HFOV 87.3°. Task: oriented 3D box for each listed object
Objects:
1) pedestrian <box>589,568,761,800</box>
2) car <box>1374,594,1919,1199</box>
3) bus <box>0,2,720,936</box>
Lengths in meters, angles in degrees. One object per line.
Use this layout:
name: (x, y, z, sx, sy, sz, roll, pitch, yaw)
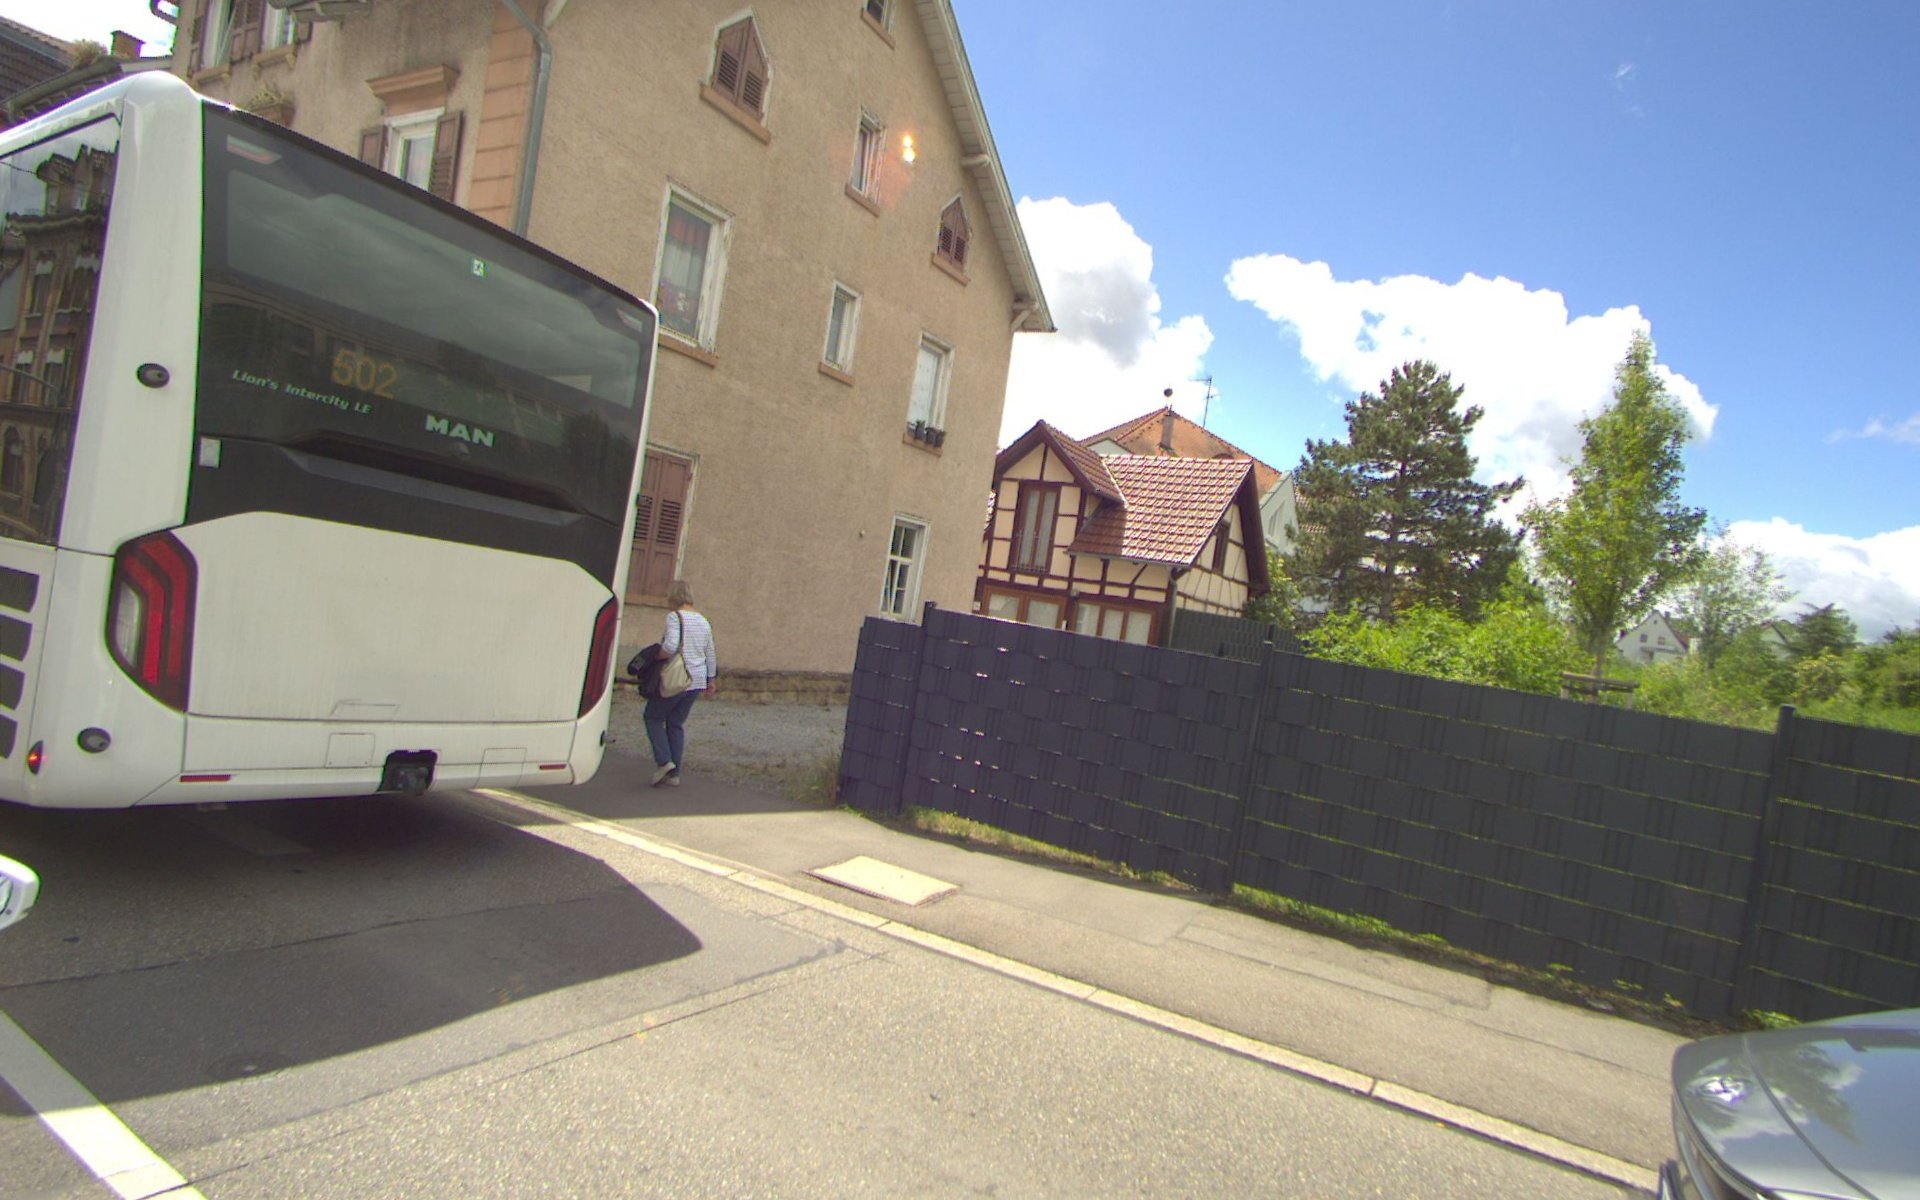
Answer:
pedestrian: (-2.140, 0.615, 7.610, 0.700, 1.581, 0.860, 7, 1, 31)
car: (2.970, 1.152, 0.931, 4.605, 1.631, 1.924, 7, -2, 32)
bus: (-7.392, -0.924, 7.810, 12.255, 3.194, 2.676, 7, 0, 32)
